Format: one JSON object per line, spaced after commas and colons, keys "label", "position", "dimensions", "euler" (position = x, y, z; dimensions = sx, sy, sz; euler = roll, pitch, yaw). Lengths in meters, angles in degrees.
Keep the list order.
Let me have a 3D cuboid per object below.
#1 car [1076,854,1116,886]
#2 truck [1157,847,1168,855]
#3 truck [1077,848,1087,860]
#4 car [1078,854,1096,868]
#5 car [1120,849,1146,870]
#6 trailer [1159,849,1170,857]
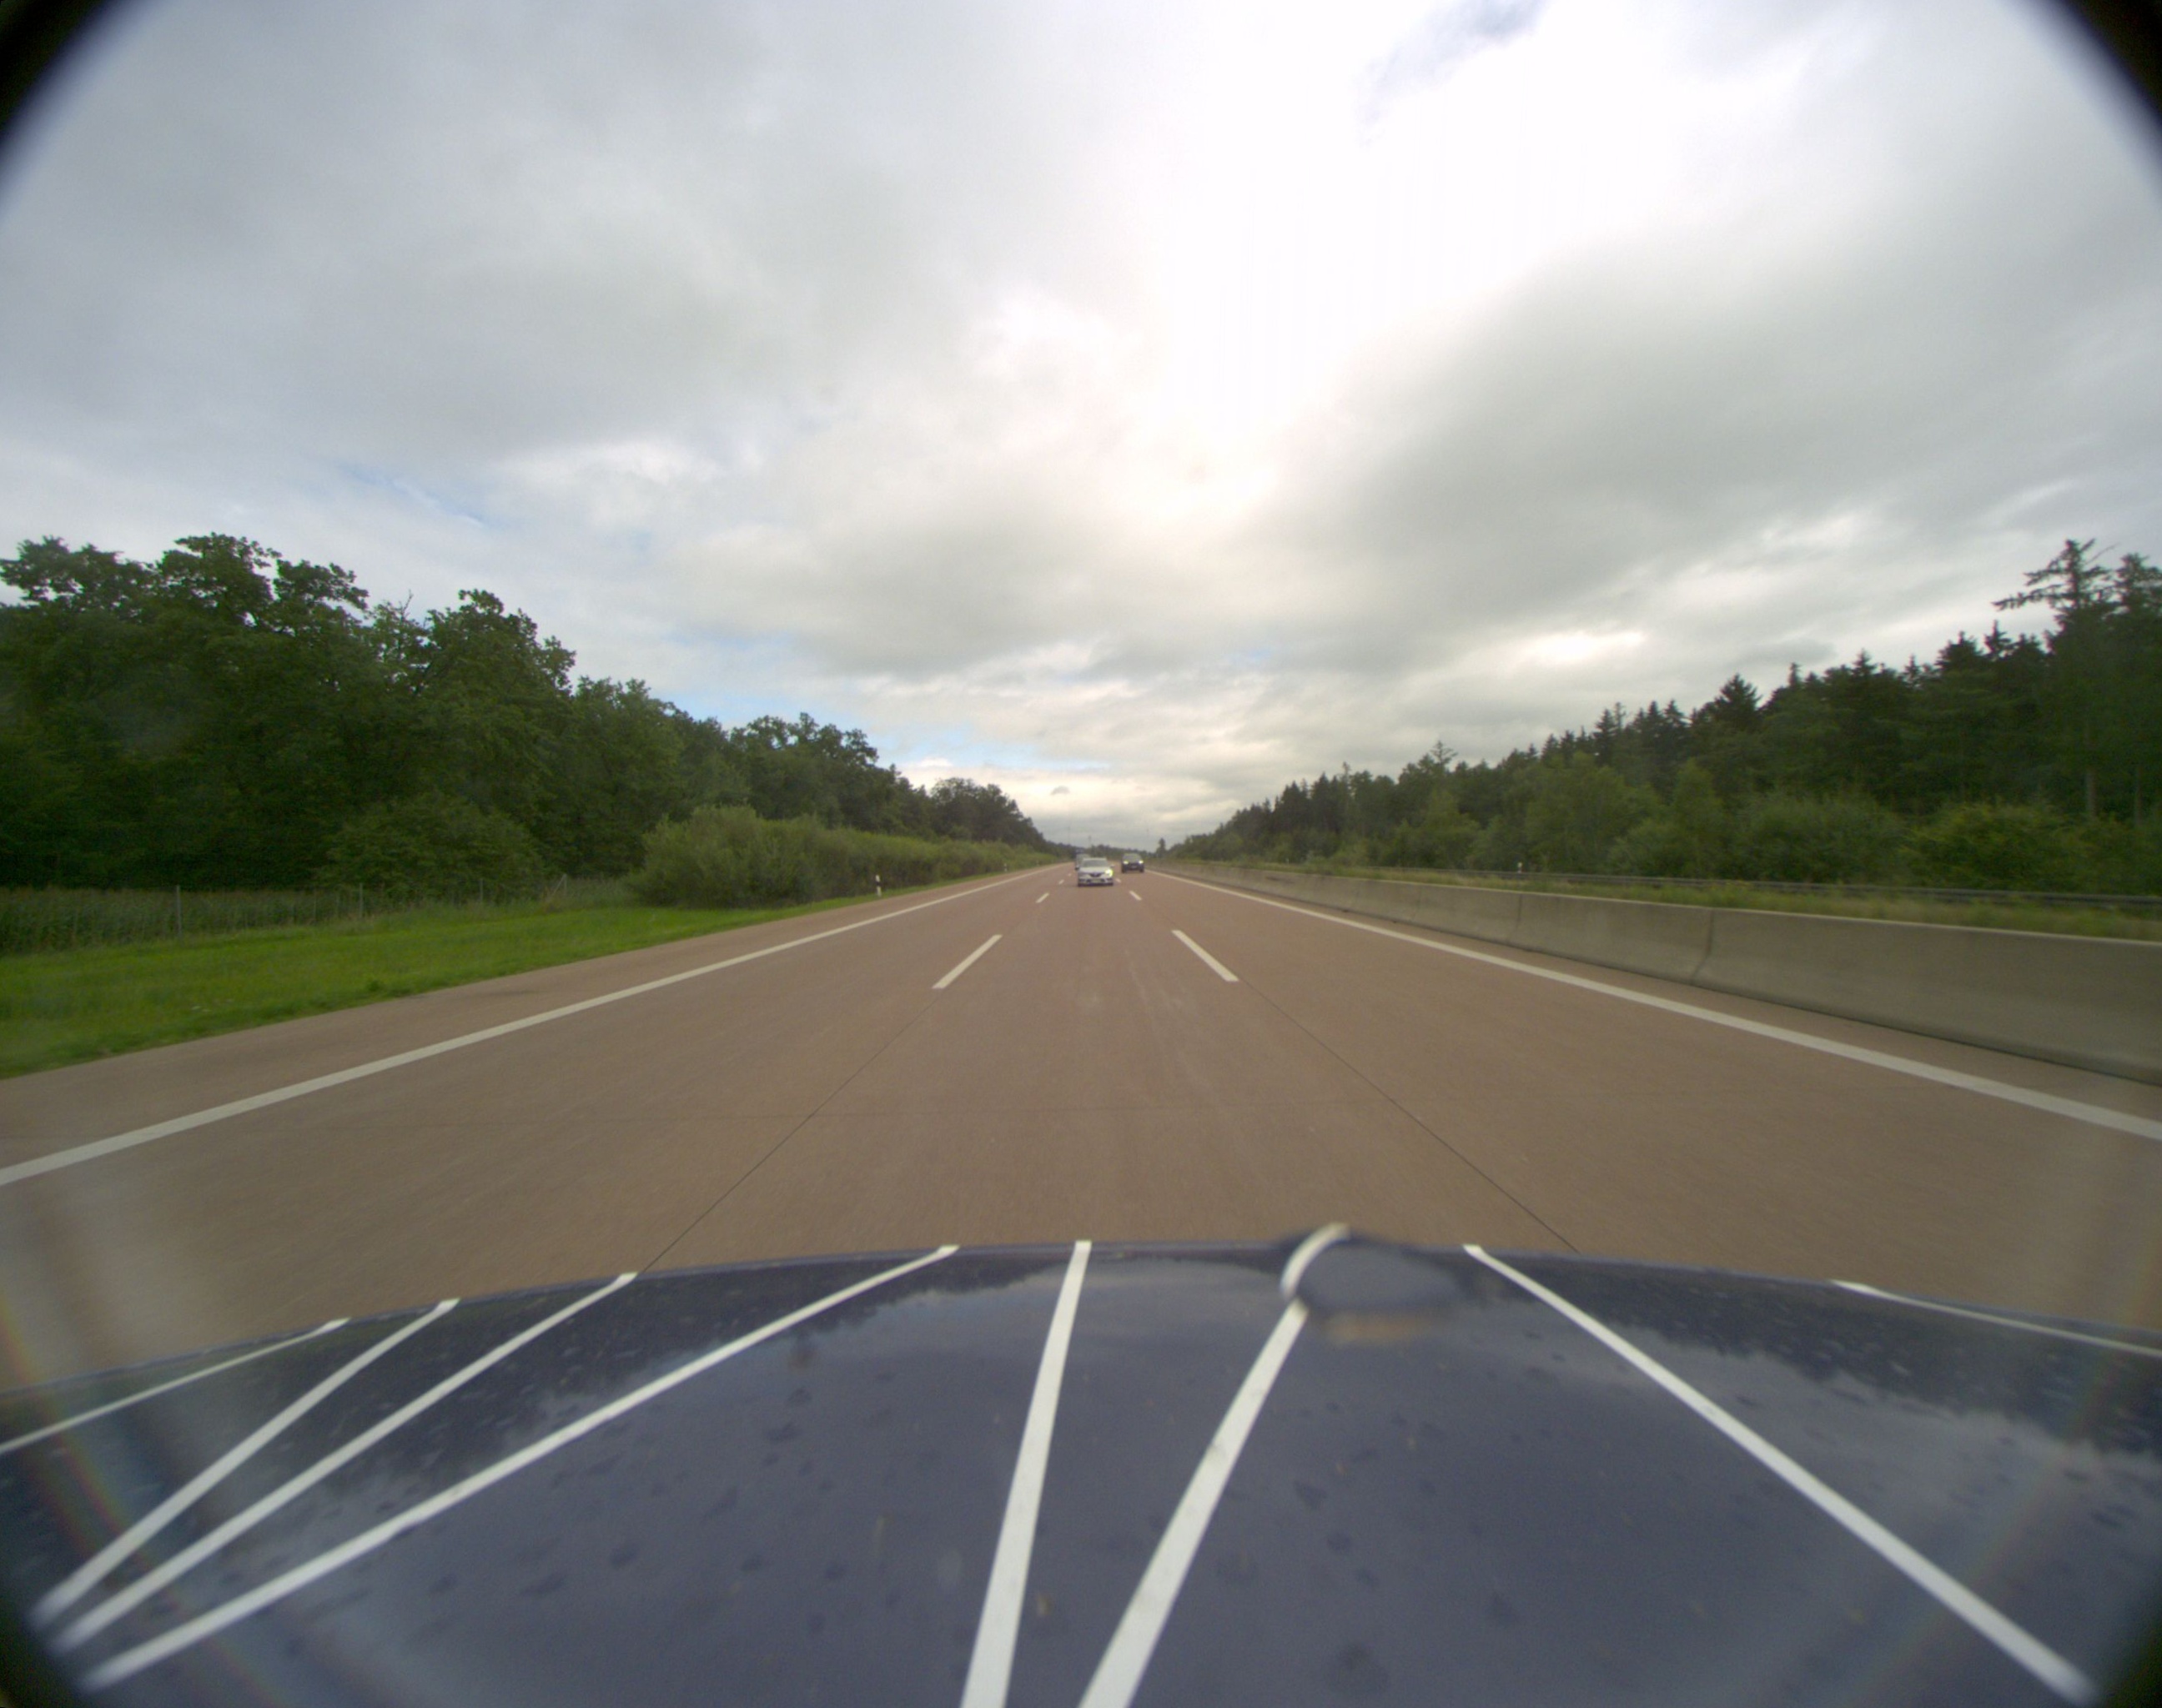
{"label": "car", "position": [0.835, 0.797, 39.752], "dimensions": [1.923, 1.515, 4.001], "euler": [-2, 0, 3]}
{"label": "truck", "position": [22.896, -0.853, 213.920], "dimensions": [2.352, 2.149, 6.043], "euler": [-2, 0, 1]}
{"label": "truck", "position": [0.437, 0.048, 256.196], "dimensions": [2.956, 3.705, 7.950], "euler": [-5, 0, 1]}
{"label": "car", "position": [0.684, 0.752, 85.965], "dimensions": [1.986, 1.499, 4.052], "euler": [-2, 0, 1]}
{"label": "car", "position": [4.523, 0.479, 66.568], "dimensions": [1.998, 1.689, 5.252], "euler": [-2, 0, 1]}
{"label": "trailer", "position": [22.804, -0.363, 207.796], "dimensions": [2.337, 2.149, 6.189], "euler": [-2, 0, 1]}
